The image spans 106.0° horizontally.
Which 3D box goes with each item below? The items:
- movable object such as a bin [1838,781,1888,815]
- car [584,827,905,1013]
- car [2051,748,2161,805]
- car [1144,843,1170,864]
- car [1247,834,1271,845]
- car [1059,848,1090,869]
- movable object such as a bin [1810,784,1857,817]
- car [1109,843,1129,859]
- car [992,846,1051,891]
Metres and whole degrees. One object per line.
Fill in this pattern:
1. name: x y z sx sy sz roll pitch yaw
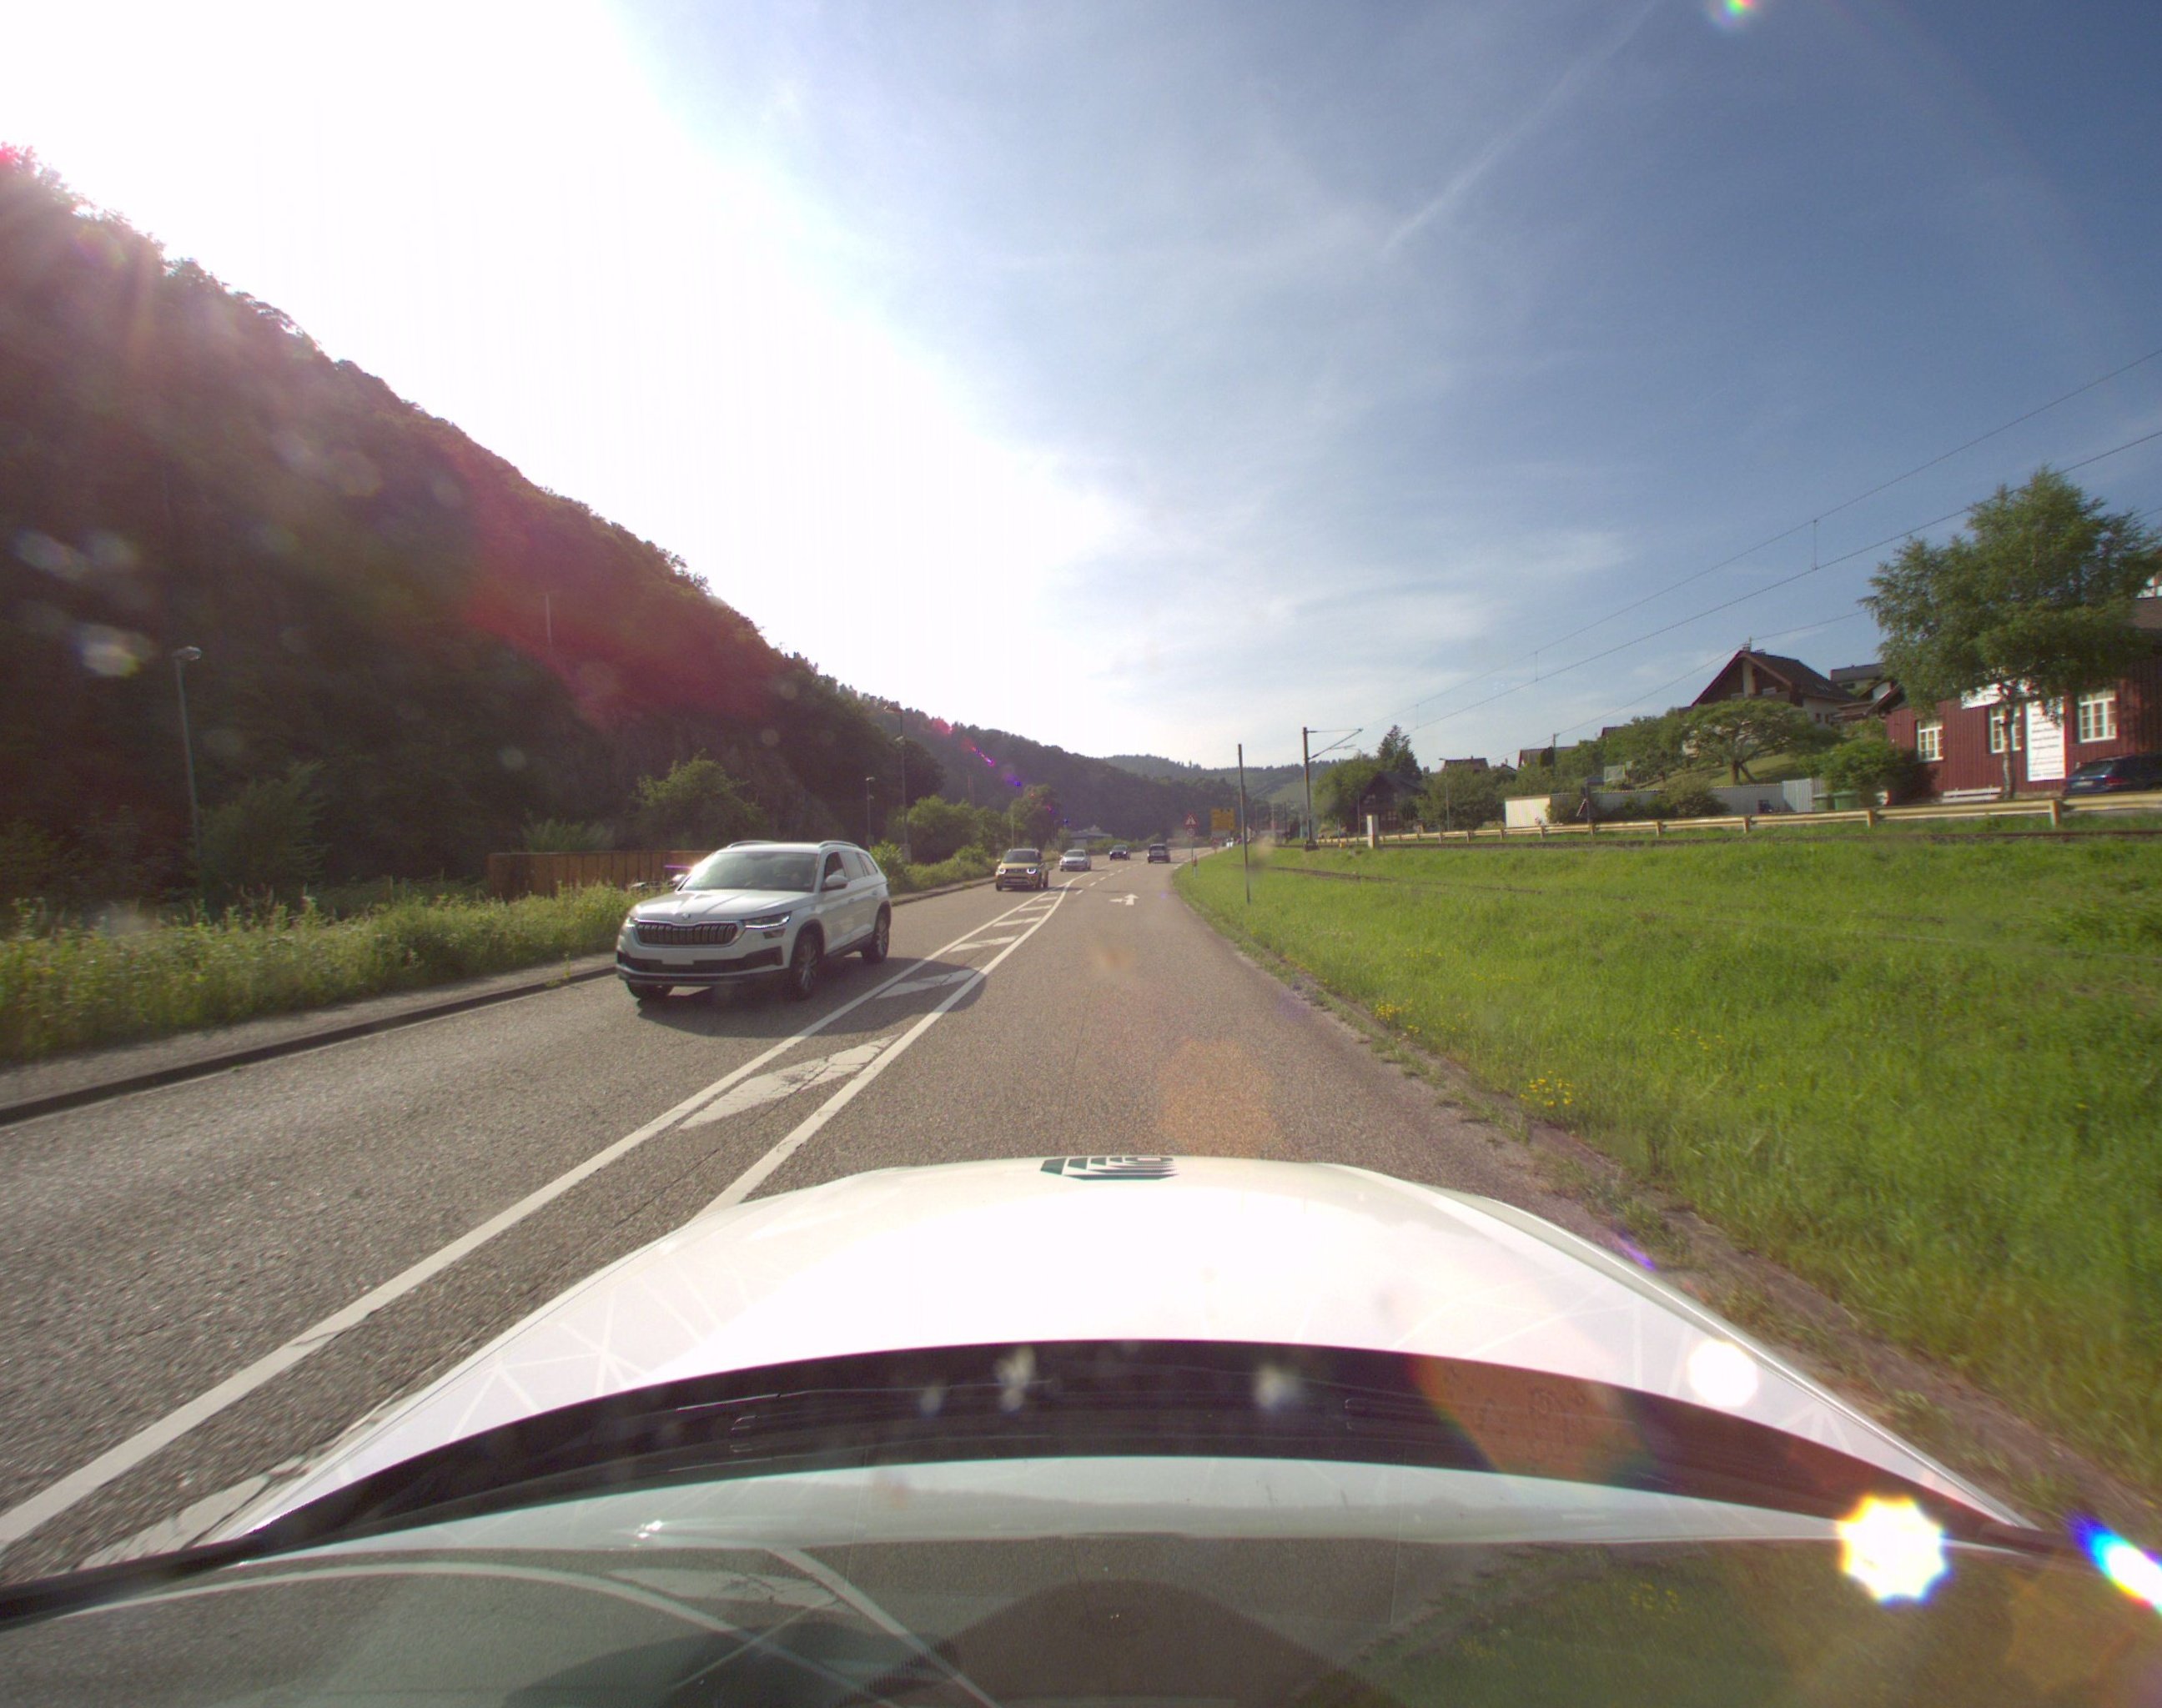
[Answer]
1. movable object such as a bin: 25.756 -1.847 26.831 0.803 1.050 0.913 -1 1 5
2. car: -3.703 0.635 10.022 1.986 1.758 4.471 0 0 2
3. car: 30.583 -2.292 22.950 3.965 1.376 1.829 -5 0 7
4. car: 6.687 -0.045 72.044 1.986 1.723 3.992 -4 0 2
5. car: 41.081 -3.349 187.637 5.243 2.013 2.007 -5 0 12
6. car: -0.419 0.303 54.814 1.770 1.348 4.515 0 0 3
7. movable object such as a bin: 25.828 -1.834 27.974 0.803 1.050 0.913 -1 1 5
8. car: 3.981 -0.284 84.134 1.838 1.585 4.323 -1 1 5
9. car: -2.234 0.511 31.464 1.716 1.624 3.801 -1 0 4
